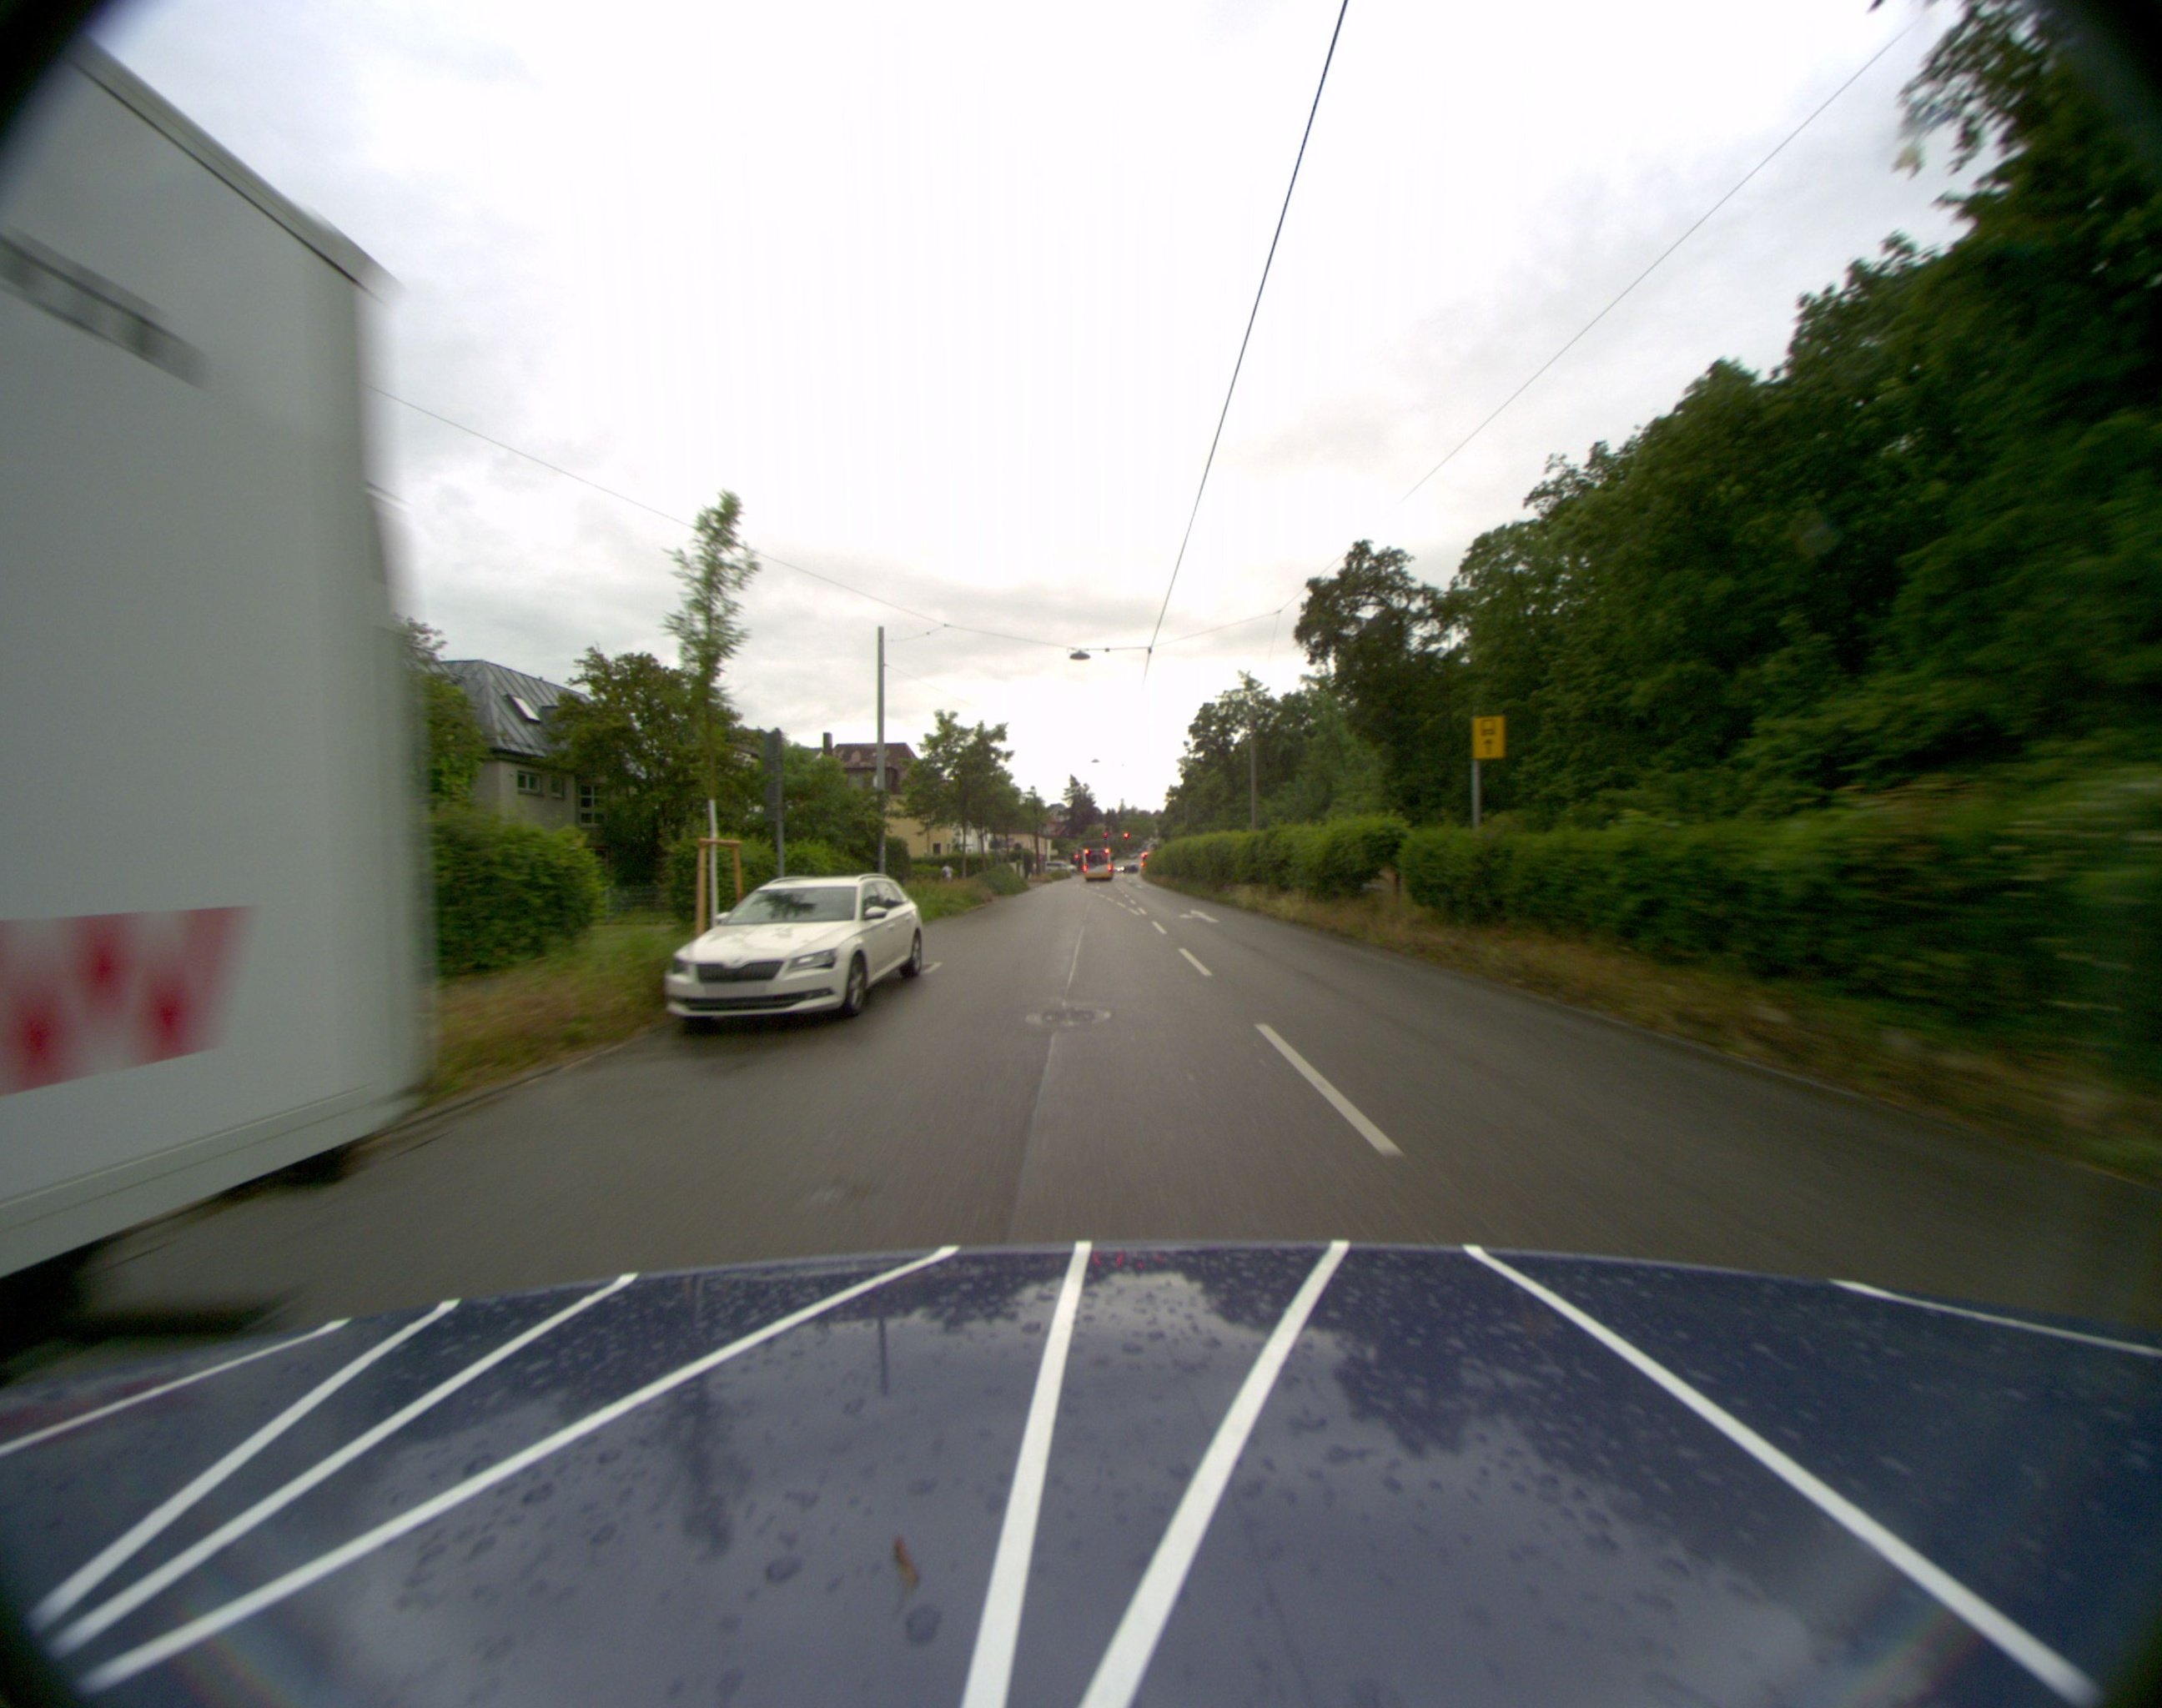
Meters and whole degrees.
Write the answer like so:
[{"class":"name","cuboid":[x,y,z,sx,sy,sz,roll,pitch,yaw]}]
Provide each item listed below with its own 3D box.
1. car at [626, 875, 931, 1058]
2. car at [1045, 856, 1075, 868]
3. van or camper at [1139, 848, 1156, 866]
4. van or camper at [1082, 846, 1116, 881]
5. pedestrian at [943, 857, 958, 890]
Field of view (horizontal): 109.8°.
[{"class":"car","cuboid":[-3.180,1.080,9.141,1.800,1.465,4.548,-3,0,0]},{"class":"car","cuboid":[-3.782,1.436,135.928,5.049,1.967,2.001,-3,0,6]},{"class":"van or camper","cuboid":[12.435,0.549,141.645,2.736,3.207,6.979,-3,0,6]},{"class":"van or camper","cuboid":[1.804,0.875,73.628,2.862,3.160,6.852,-3,0,3]},{"class":"pedestrian","cuboid":[-7.052,1.047,41.052,0.635,1.722,0.714,-1,2,3]}]
